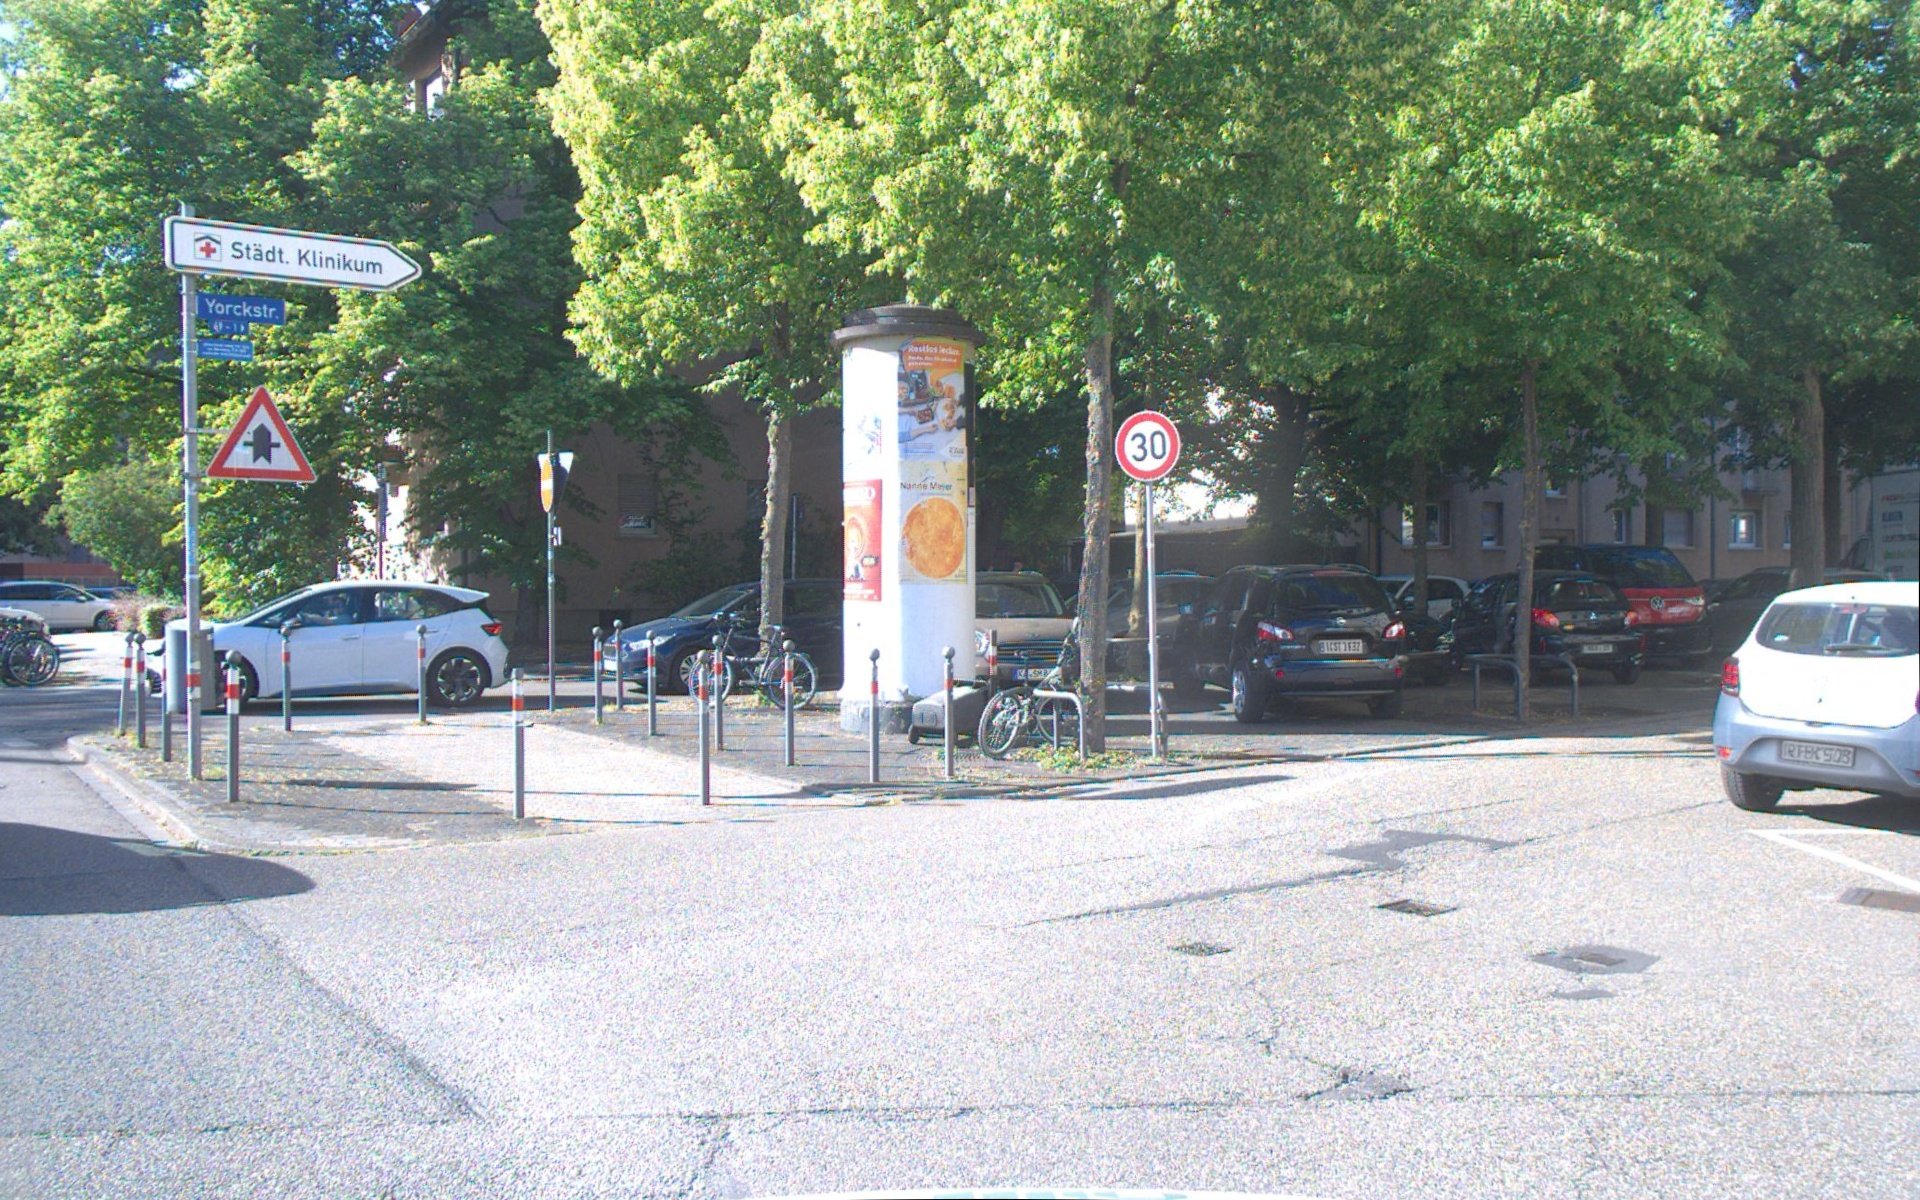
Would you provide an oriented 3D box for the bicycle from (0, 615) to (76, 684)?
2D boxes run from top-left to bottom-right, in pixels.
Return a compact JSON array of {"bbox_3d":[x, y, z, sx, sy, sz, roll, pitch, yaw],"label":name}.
[{"bbox_3d":[-15.182,0.798,26.210,2.018,1.049,0.441,-2,1,-44],"label":"bicycle"}]

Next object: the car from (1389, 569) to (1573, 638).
[{"bbox_3d":[11.869,0.046,37.588,4.292,1.460,1.748,-1,1,-35],"label":"car"}]

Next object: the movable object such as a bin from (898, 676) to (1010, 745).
[{"bbox_3d":[-0.046,1.064,16.116,0.566,0.575,1.110,0,1,35],"label":"movable object such as a bin"}]

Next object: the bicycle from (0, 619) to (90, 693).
[{"bbox_3d":[-14.200,0.850,24.750,2.018,1.049,0.562,-2,1,-44],"label":"bicycle"}]

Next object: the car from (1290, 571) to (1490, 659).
[{"bbox_3d":[8.013,0.234,30.680,3.915,1.512,1.733,-1,1,-42],"label":"car"}]

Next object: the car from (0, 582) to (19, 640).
[{"bbox_3d":[-26.347,0.315,42.381,1.586,1.507,3.586,0,1,31],"label":"car"}]

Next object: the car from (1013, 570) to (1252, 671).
[{"bbox_3d":[2.872,0.284,27.047,3.915,1.512,1.733,-1,1,-42],"label":"car"}]

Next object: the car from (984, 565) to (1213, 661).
[{"bbox_3d":[2.620,0.197,30.812,4.200,1.668,1.737,-1,1,-37],"label":"car"}]

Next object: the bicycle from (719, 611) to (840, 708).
[{"bbox_3d":[-2.145,0.689,19.788,0.348,1.091,1.581,0,1,44],"label":"bicycle"}]

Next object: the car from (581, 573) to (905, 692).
[{"bbox_3d":[-3.081,0.407,23.800,4.250,1.545,1.886,-1,1,-35],"label":"car"}]

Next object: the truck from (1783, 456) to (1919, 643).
[{"bbox_3d":[18.406,-0.928,30.509,2.488,3.351,7.321,-1,0,-3],"label":"truck"}]

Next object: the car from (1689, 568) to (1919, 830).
[{"bbox_3d":[6.883,0.539,11.226,3.974,1.523,1.704,-1,1,-34],"label":"car"}]

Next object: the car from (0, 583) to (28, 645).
[{"bbox_3d":[-24.763,0.363,39.995,1.586,1.507,3.586,0,1,31],"label":"car"}]

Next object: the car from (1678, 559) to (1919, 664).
[{"bbox_3d":[13.352,0.140,26.524,1.771,1.533,4.343,0,1,0],"label":"car"}]

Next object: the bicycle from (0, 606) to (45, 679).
[{"bbox_3d":[-16.461,0.733,27.560,2.018,1.197,0.657,-2,1,-44],"label":"bicycle"}]

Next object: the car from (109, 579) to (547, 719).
[{"bbox_3d":[-7.904,0.535,20.804,4.964,1.545,1.906,-1,1,-29],"label":"car"}]

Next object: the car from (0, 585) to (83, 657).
[{"bbox_3d":[-20.750,0.447,35.305,1.586,1.507,3.251,0,1,31],"label":"car"}]

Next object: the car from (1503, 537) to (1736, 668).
[{"bbox_3d":[10.374,0.001,26.401,1.890,1.906,4.503,0,1,0],"label":"car"}]

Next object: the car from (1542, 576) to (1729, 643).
[{"bbox_3d":[14.349,0.183,35.053,4.368,1.317,1.745,-1,-1,-38],"label":"car"}]

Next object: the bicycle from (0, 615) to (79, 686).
[{"bbox_3d":[-14.916,0.797,25.793,2.018,1.049,0.461,-2,1,-44],"label":"bicycle"}]

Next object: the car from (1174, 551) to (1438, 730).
[{"bbox_3d":[3.763,0.341,18.786,1.795,1.700,4.334,-1,3,-4],"label":"car"}]

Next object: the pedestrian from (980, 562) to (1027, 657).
[{"bbox_3d":[0.822,0.170,31.129,0.534,1.766,0.732,-1,0,-38],"label":"pedestrian"}]

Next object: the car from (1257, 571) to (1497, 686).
[{"bbox_3d":[5.652,0.328,22.931,1.783,1.447,3.940,-1,1,-10],"label":"car"}]

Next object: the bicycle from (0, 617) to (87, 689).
[{"bbox_3d":[-14.577,0.818,25.350,2.018,1.049,0.562,-2,1,-44],"label":"bicycle"}]

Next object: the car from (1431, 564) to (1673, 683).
[{"bbox_3d":[8.117,0.271,23.037,1.722,1.506,3.819,-1,1,-6],"label":"car"}]

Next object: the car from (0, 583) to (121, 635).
[{"bbox_3d":[-27.668,0.270,50.560,3.542,1.507,1.606,-1,1,-29],"label":"car"}]

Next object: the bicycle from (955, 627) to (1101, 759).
[{"bbox_3d":[0.635,0.815,14.928,0.348,1.091,1.581,0,1,44],"label":"bicycle"}]

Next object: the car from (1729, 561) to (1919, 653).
[{"bbox_3d":[15.786,0.078,29.870,1.771,1.533,4.343,0,1,0],"label":"car"}]

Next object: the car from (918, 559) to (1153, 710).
[{"bbox_3d":[0.805,0.363,20.308,1.883,1.639,3.987,-1,0,-13],"label":"car"}]

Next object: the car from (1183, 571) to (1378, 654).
[{"bbox_3d":[6.606,0.212,33.960,3.902,1.597,1.739,-1,1,-35],"label":"car"}]

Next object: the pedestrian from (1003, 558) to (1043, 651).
[{"bbox_3d":[1.217,0.080,31.965,0.725,1.766,0.539,-1,0,-2],"label":"pedestrian"}]
